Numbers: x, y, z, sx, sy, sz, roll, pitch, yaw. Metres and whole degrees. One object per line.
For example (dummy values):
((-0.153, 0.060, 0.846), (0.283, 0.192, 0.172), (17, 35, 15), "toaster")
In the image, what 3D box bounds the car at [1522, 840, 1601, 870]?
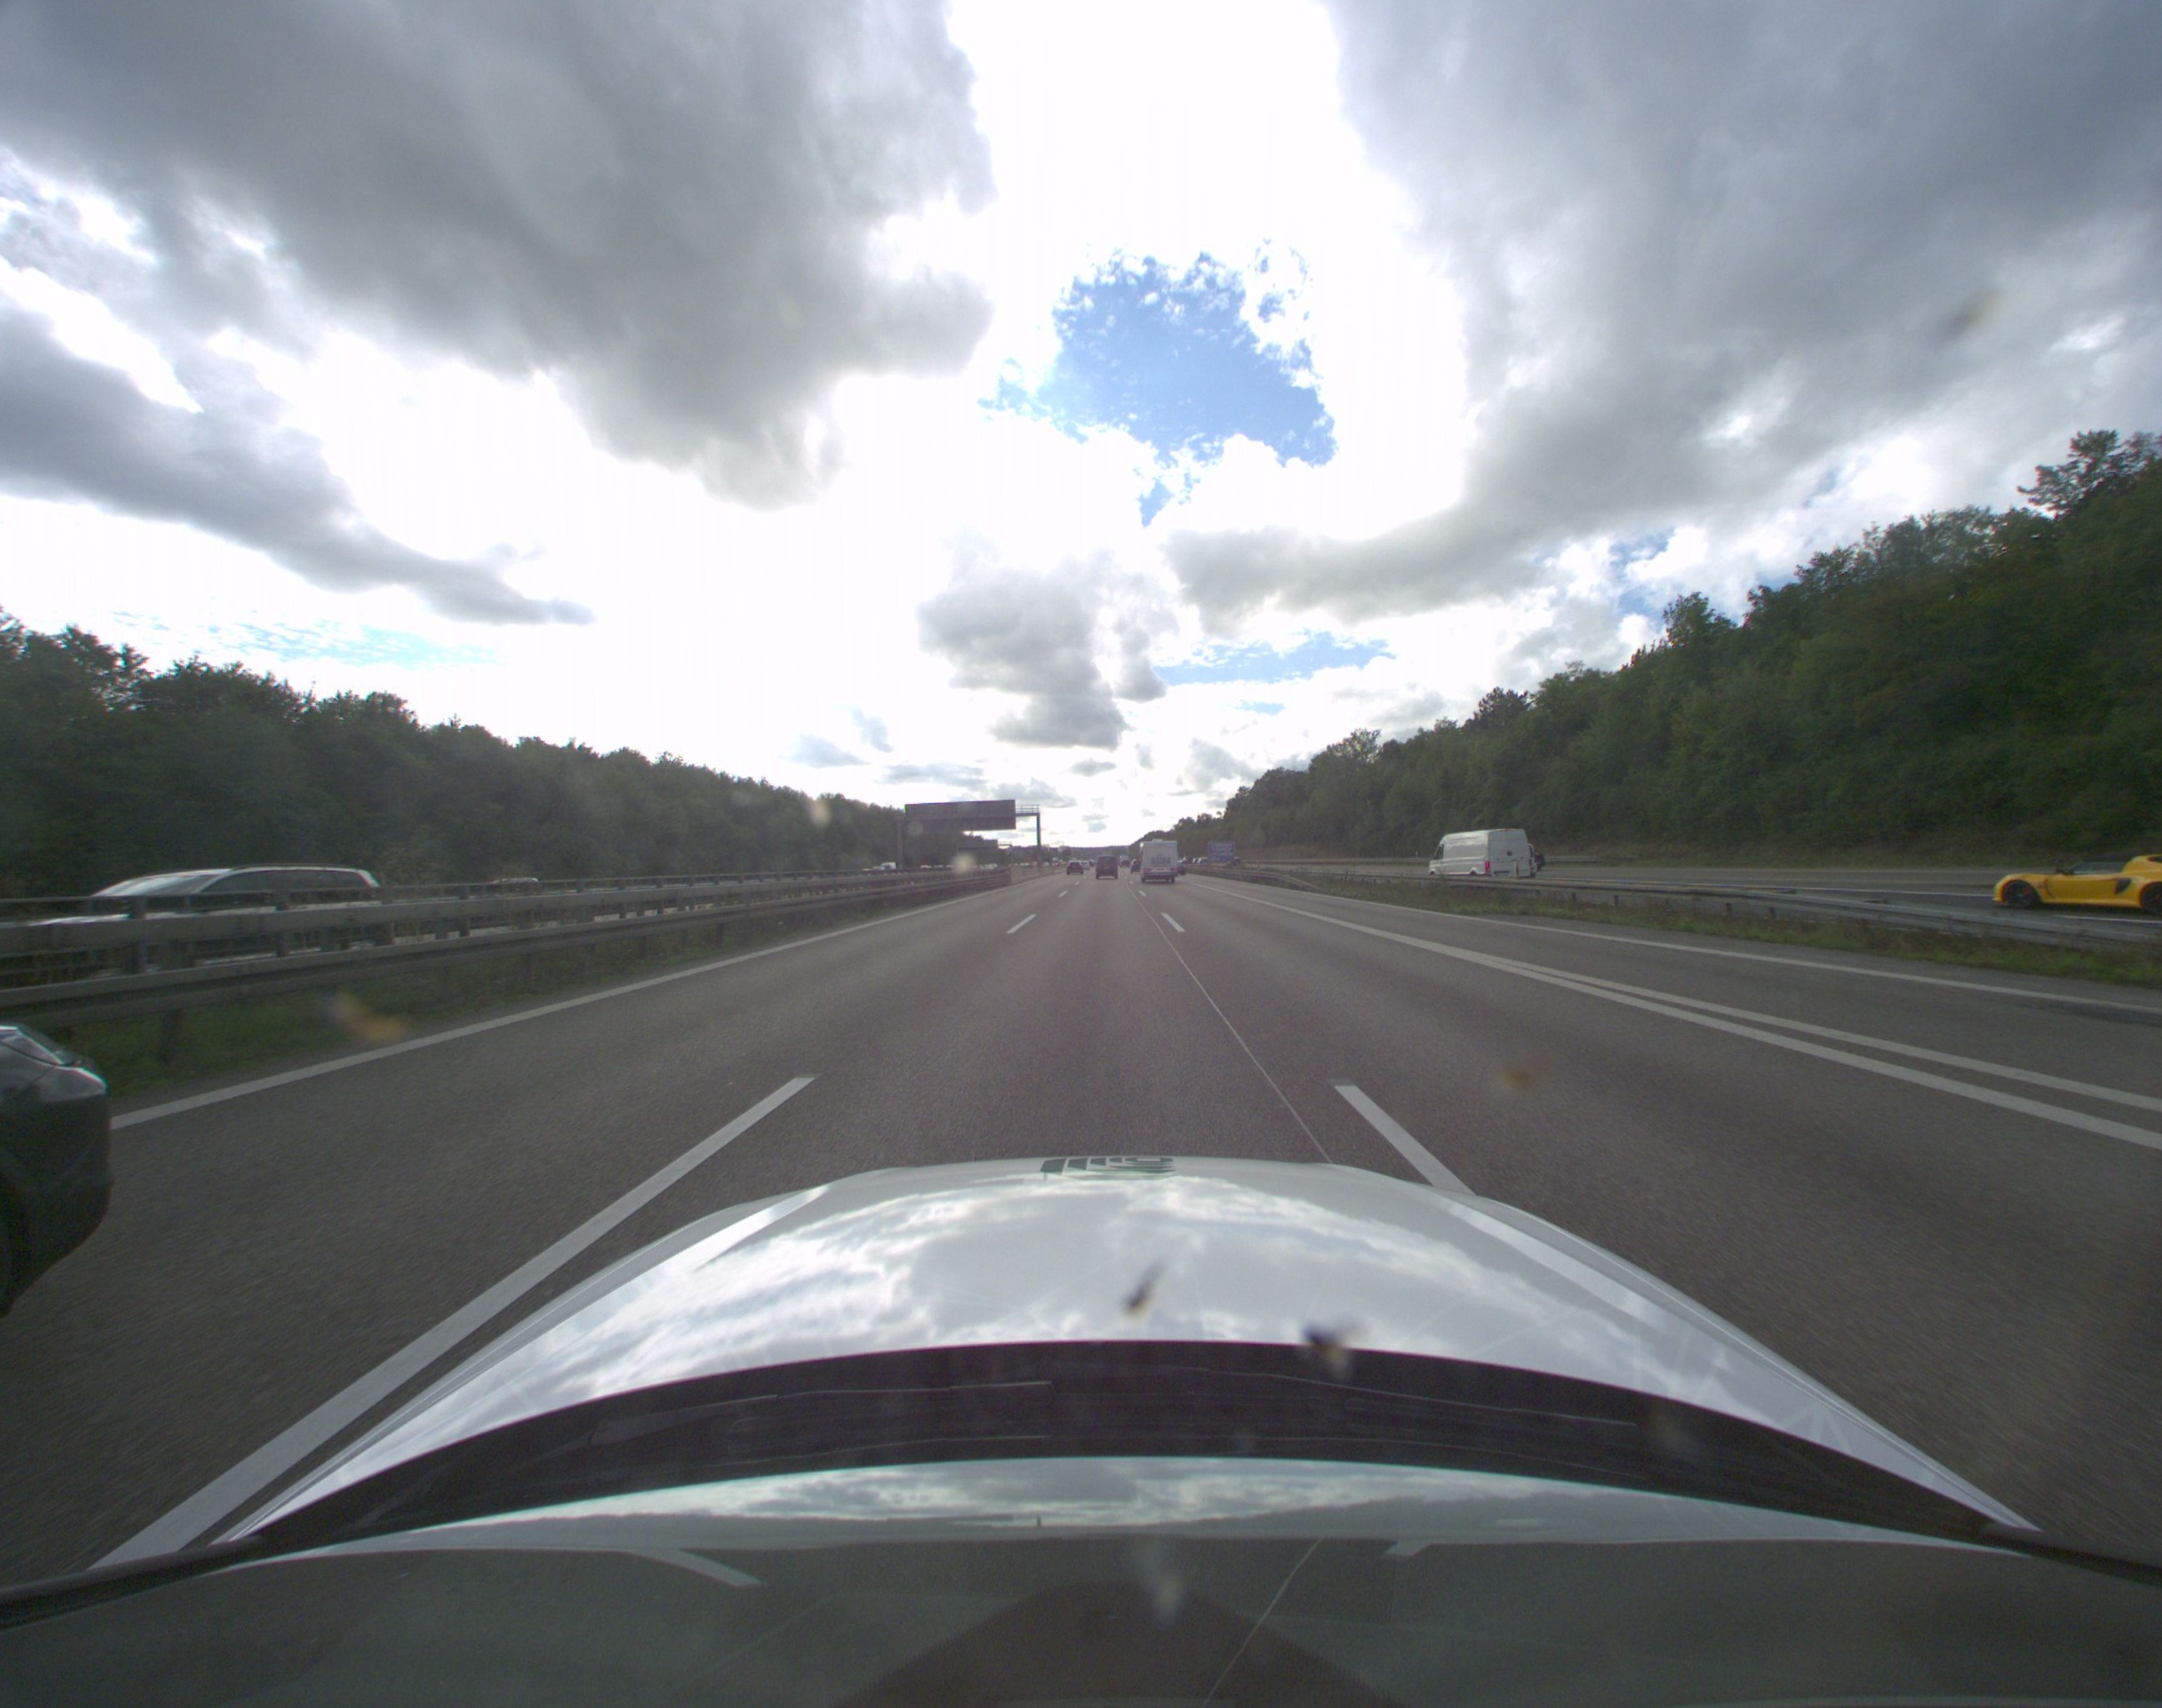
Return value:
((28.336, 0.058, 48.207), (1.837, 1.602, 4.764), (-3, 0, 1), "car")

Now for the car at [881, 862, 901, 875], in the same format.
((-35.771, 2.656, 153.337), (1.985, 2.315, 5.689), (-2, 0, 3), "car")

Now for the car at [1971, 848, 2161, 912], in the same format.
((20.834, 0.478, 16.214), (1.706, 1.182, 4.169), (-1, 0, 1), "car")

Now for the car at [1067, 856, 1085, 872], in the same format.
((-0.566, 1.174, 94.506), (1.866, 1.698, 4.073), (-1, -1, 1), "car")

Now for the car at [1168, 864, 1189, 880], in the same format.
((10.053, 1.851, 84.090), (1.691, 1.611, 3.896), (-1, -1, 1), "car")

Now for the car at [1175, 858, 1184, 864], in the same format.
((28.116, 2.000, 232.927), (1.837, 1.484, 4.525), (-3, 0, 0), "car")

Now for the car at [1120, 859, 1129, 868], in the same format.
((9.441, 2.003, 176.186), (1.906, 1.919, 4.031), (-1, -1, 1), "car")

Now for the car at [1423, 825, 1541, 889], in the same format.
((17.850, 0.128, 36.761), (2.062, 2.554, 6.744), (-2, 0, 1), "car")

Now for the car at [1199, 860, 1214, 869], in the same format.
((22.025, 1.832, 143.290), (1.837, 1.484, 4.525), (-3, 0, 0), "car")

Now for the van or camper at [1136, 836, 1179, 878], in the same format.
((5.233, 0.249, 56.666), (2.460, 2.722, 7.663), (0, 0, 1), "van or camper")

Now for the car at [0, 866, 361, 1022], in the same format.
((-11.973, 0.984, 10.447), (1.669, 1.577, 4.174), (-2, 0, 1), "car")

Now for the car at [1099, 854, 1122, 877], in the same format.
((2.525, 0.978, 69.583), (1.848, 1.910, 4.261), (-1, -1, 1), "car")

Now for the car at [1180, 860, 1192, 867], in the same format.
((23.090, 2.141, 179.098), (1.837, 1.484, 4.525), (-3, 0, 0), "car")

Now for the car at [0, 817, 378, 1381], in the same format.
((-4.139, 0.716, 0.859), (1.905, 1.636, 5.501), (-1, 0, 1), "car")

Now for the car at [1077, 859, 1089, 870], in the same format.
((0.317, 1.672, 128.652), (1.691, 1.611, 4.114), (-1, -1, 1), "car")

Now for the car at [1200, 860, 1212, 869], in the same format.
((21.901, 1.905, 142.918), (1.535, 1.484, 3.943), (-3, 0, 2), "car")

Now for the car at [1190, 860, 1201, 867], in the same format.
((26.500, 2.205, 188.632), (1.837, 1.484, 4.525), (-3, 0, 0), "car")

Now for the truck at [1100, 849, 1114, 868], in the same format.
((6.154, 1.119, 195.049), (3.251, 4.375, 11.029), (0, -1, 2), "truck")

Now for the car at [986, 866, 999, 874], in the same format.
((-14.924, 2.663, 137.002), (1.637, 1.315, 4.248), (-2, 0, 1), "car")

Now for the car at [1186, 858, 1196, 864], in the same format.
((27.615, 1.760, 205.295), (1.837, 1.484, 4.525), (-3, 0, 0), "car")

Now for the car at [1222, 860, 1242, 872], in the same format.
((20.075, 1.536, 108.329), (1.836, 1.484, 4.527), (-3, 0, 2), "car")

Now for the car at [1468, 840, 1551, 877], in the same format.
((21.665, 0.244, 41.426), (1.836, 1.752, 4.766), (-1, 0, 2), "car")

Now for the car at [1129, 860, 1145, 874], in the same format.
((6.620, 1.517, 97.192), (1.691, 1.564, 4.114), (-1, -1, 1), "car")
